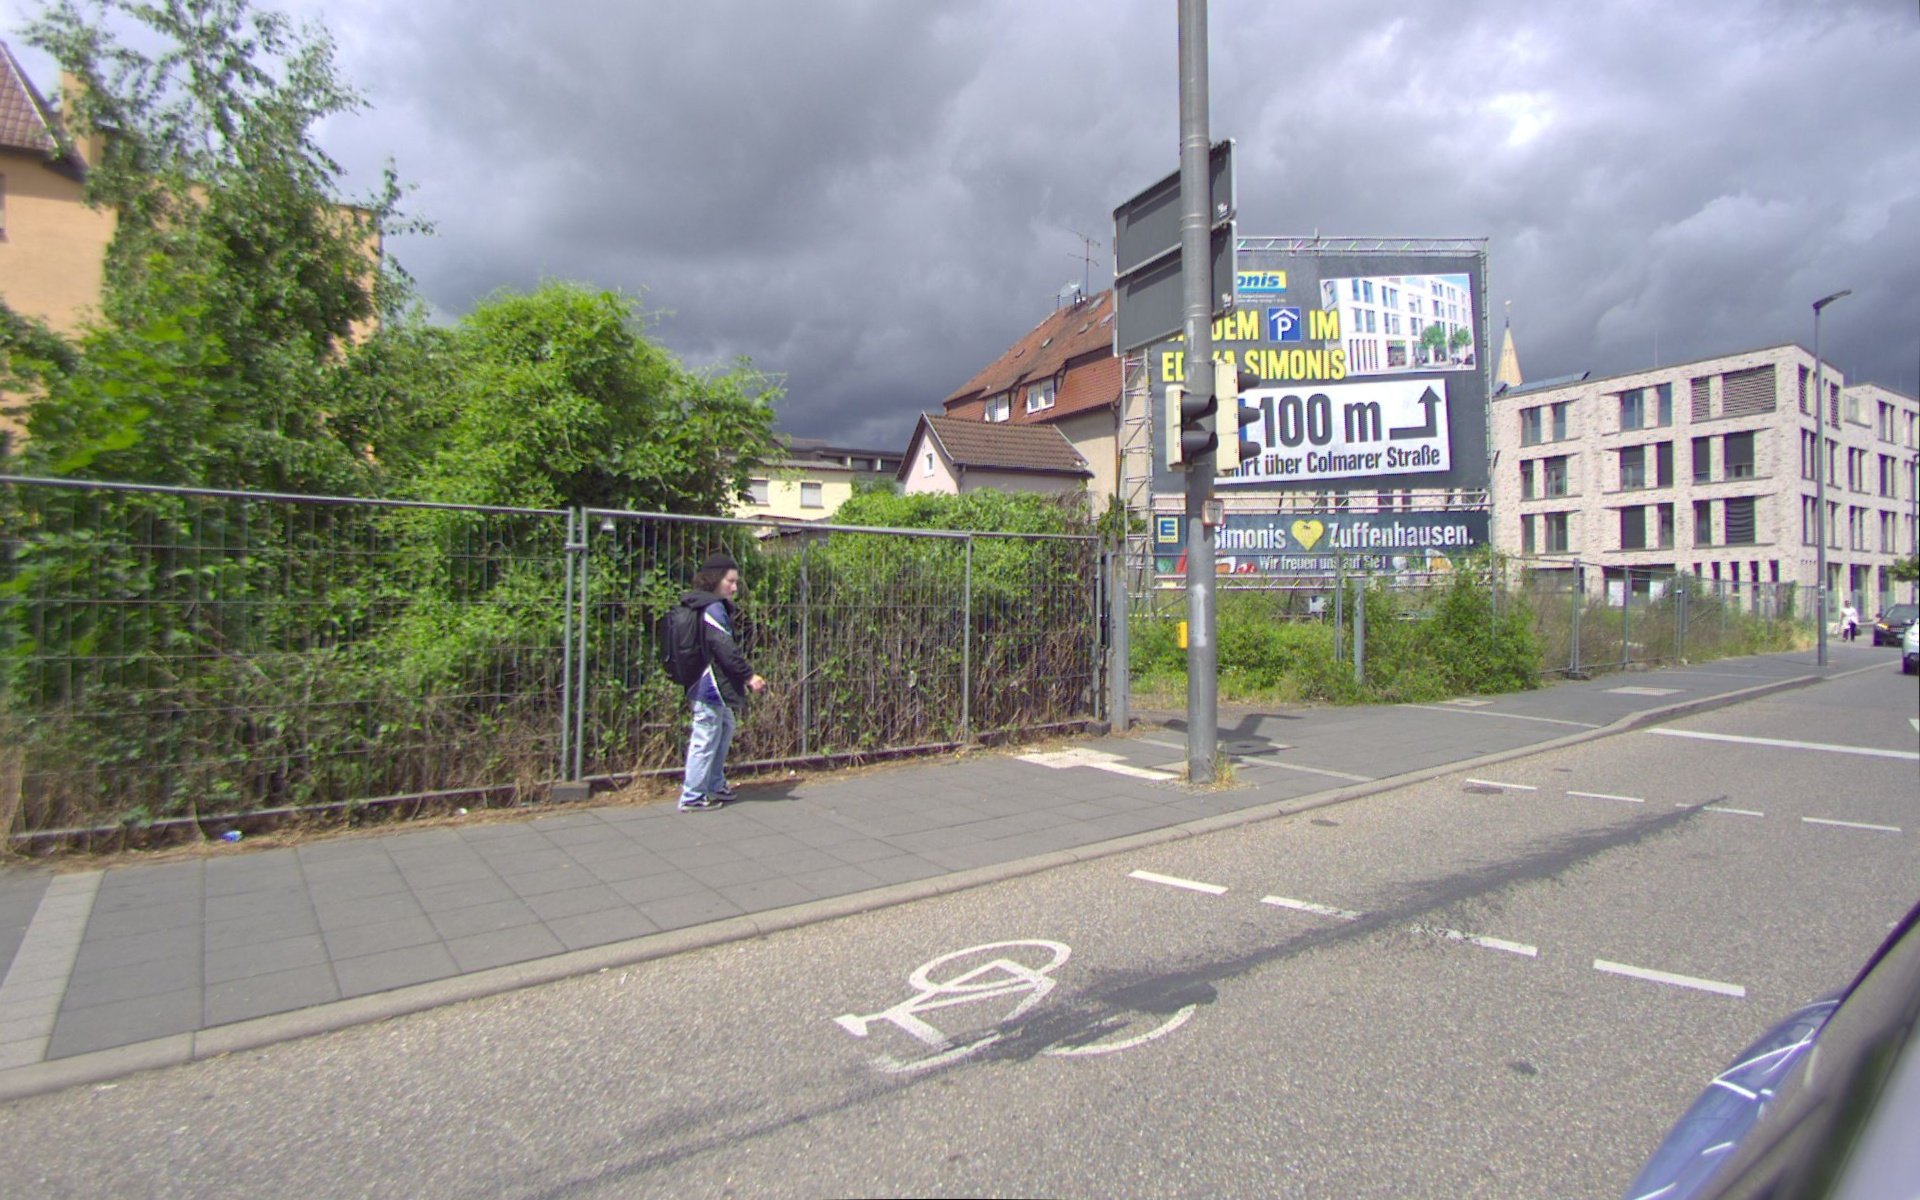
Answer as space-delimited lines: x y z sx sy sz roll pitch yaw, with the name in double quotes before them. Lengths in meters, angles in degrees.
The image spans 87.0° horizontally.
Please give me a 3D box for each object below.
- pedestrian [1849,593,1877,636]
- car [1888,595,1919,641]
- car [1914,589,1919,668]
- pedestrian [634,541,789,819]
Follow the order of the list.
"pedestrian" 32.879 0.523 36.838 0.769 1.531 0.673 1 0 -41
"car" 32.734 0.593 34.023 3.726 1.441 1.678 -1 2 -39
"car" 21.137 0.582 21.027 3.730 1.569 1.716 0 2 -44
"pedestrian" -1.627 0.478 6.568 0.762 1.663 0.768 2 0 -29
